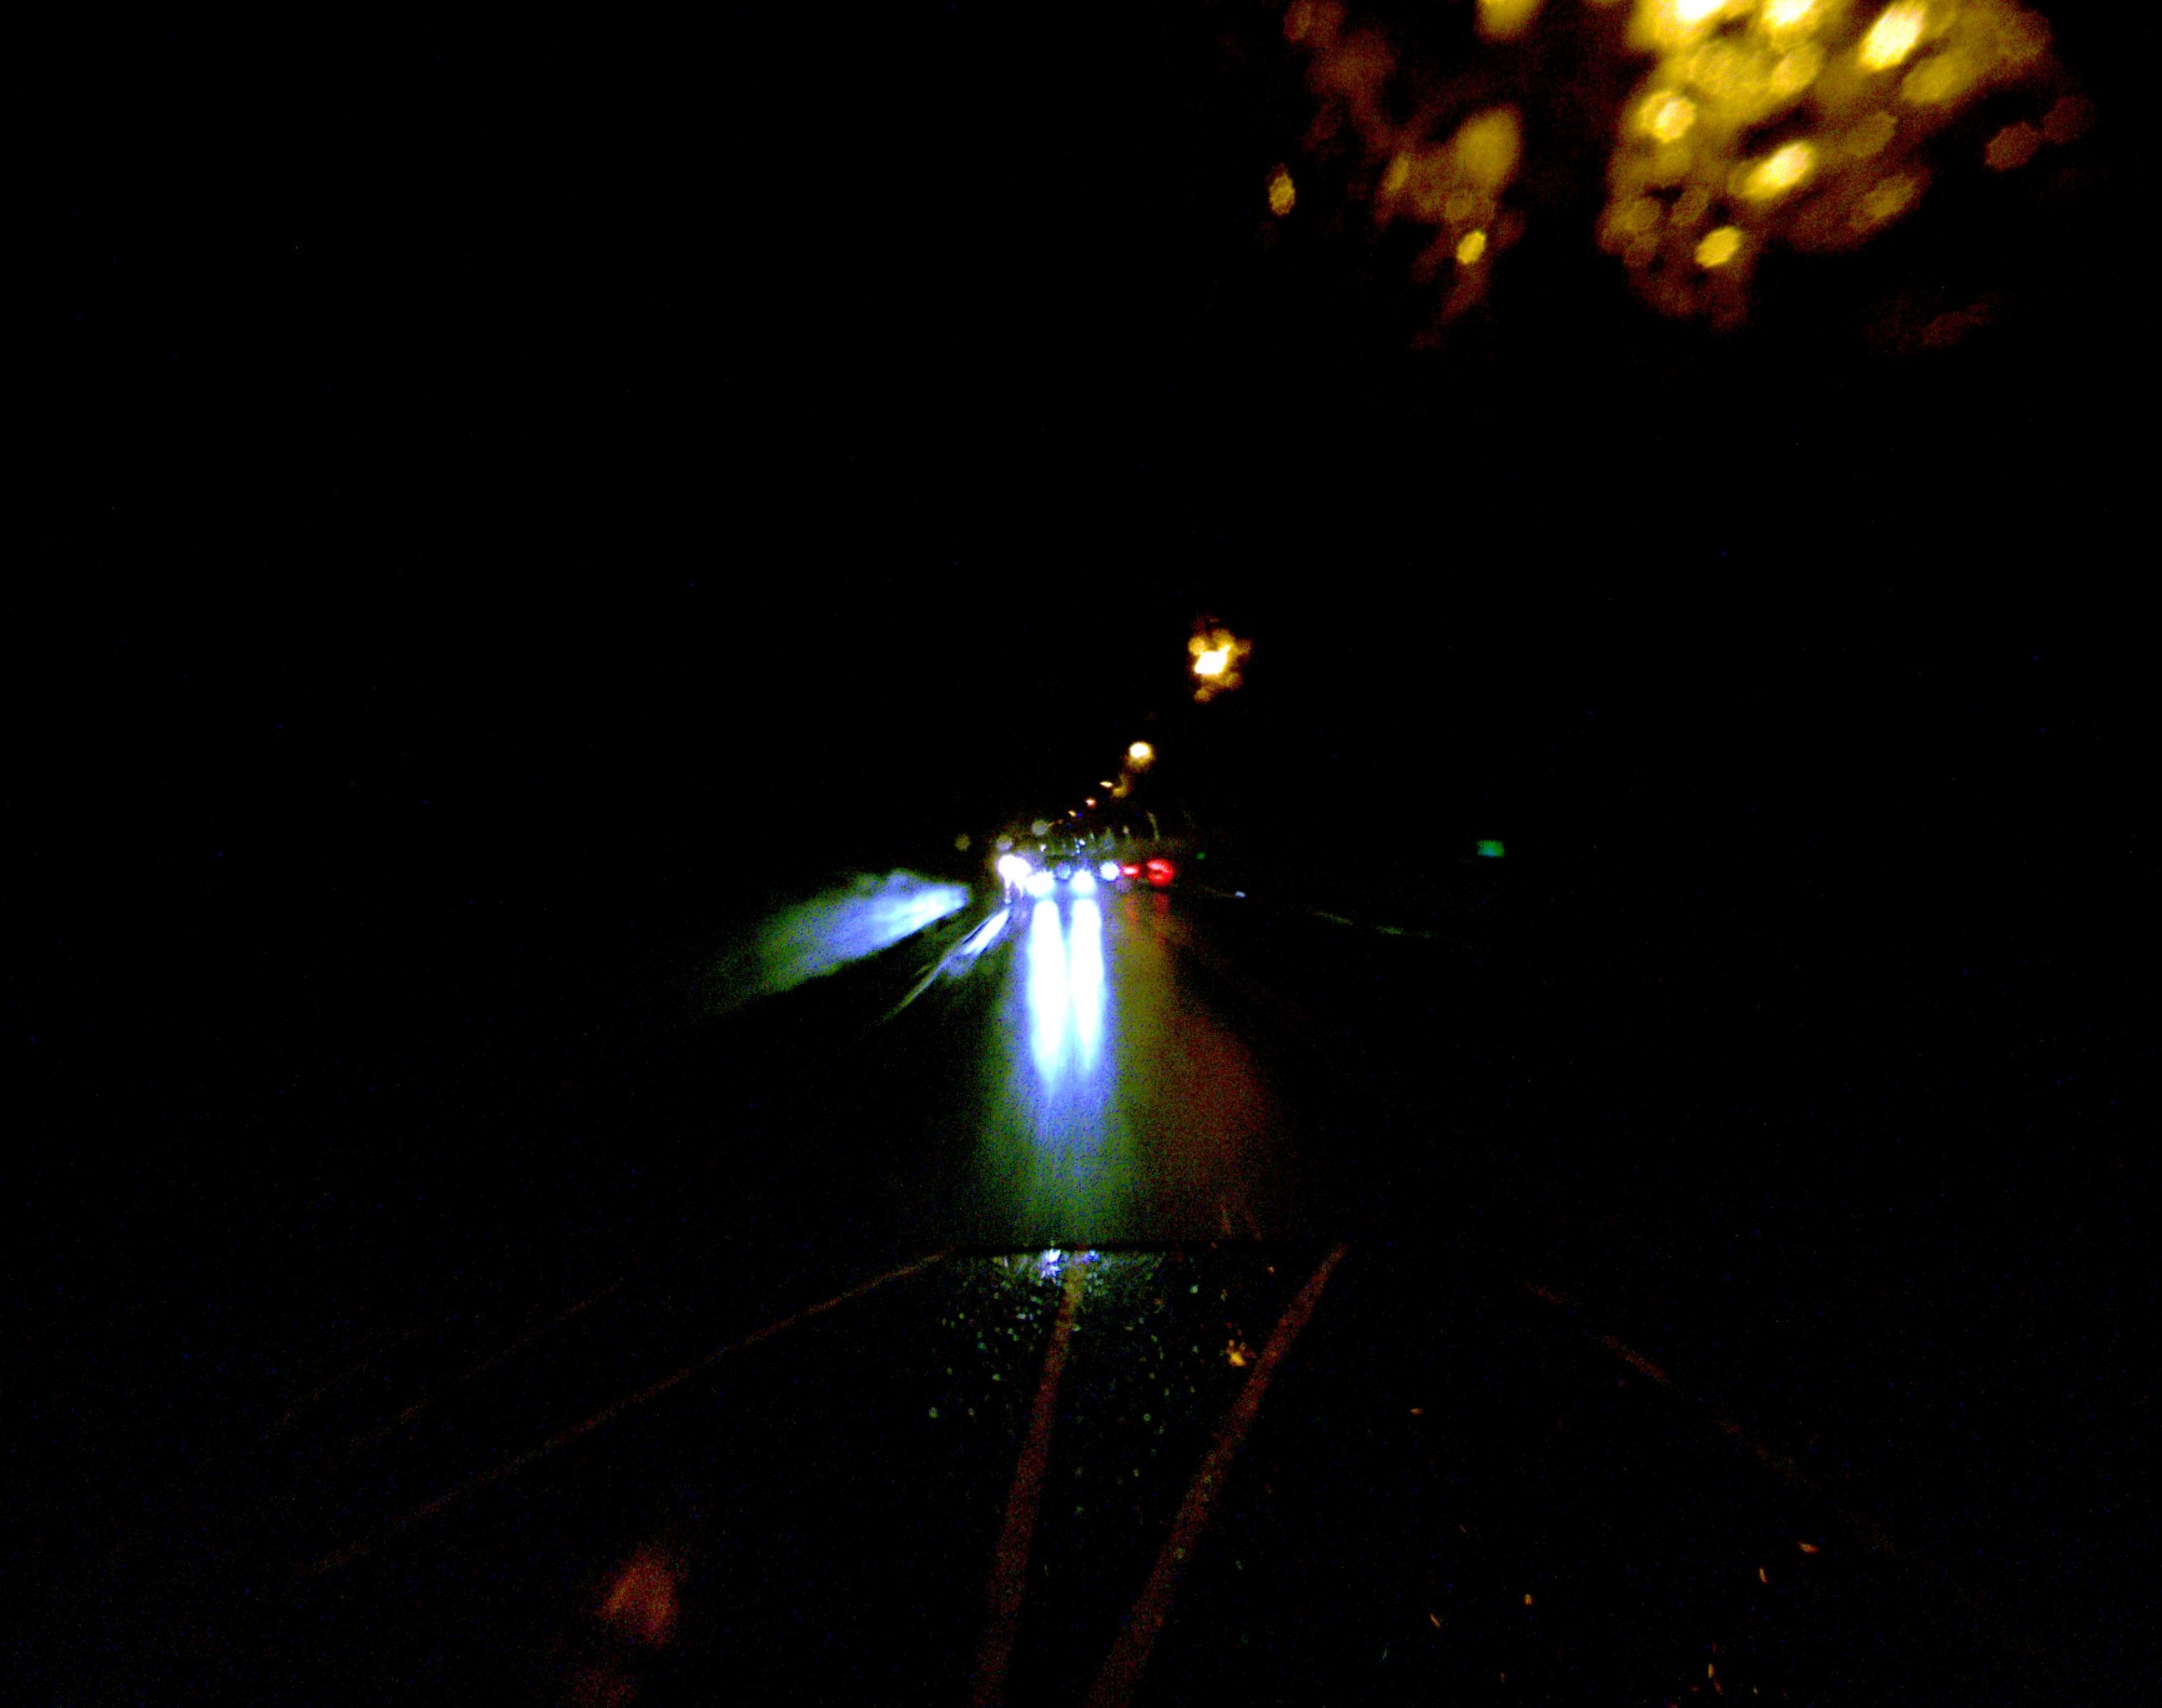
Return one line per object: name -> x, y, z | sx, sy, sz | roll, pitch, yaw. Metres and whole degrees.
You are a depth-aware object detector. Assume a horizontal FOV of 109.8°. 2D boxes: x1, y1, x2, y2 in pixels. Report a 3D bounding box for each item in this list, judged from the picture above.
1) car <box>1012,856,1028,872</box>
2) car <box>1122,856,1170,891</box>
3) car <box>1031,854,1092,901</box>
car -> -7.939, 1.294, 98.739 | 1.900, 2.002, 3.997 | -1, 0, -8
car -> 2.818, 0.822, 33.579 | 1.634, 1.389, 3.999 | -2, 0, -1
car -> -0.848, 0.855, 30.142 | 1.999, 1.585, 4.606 | -3, 1, -6
